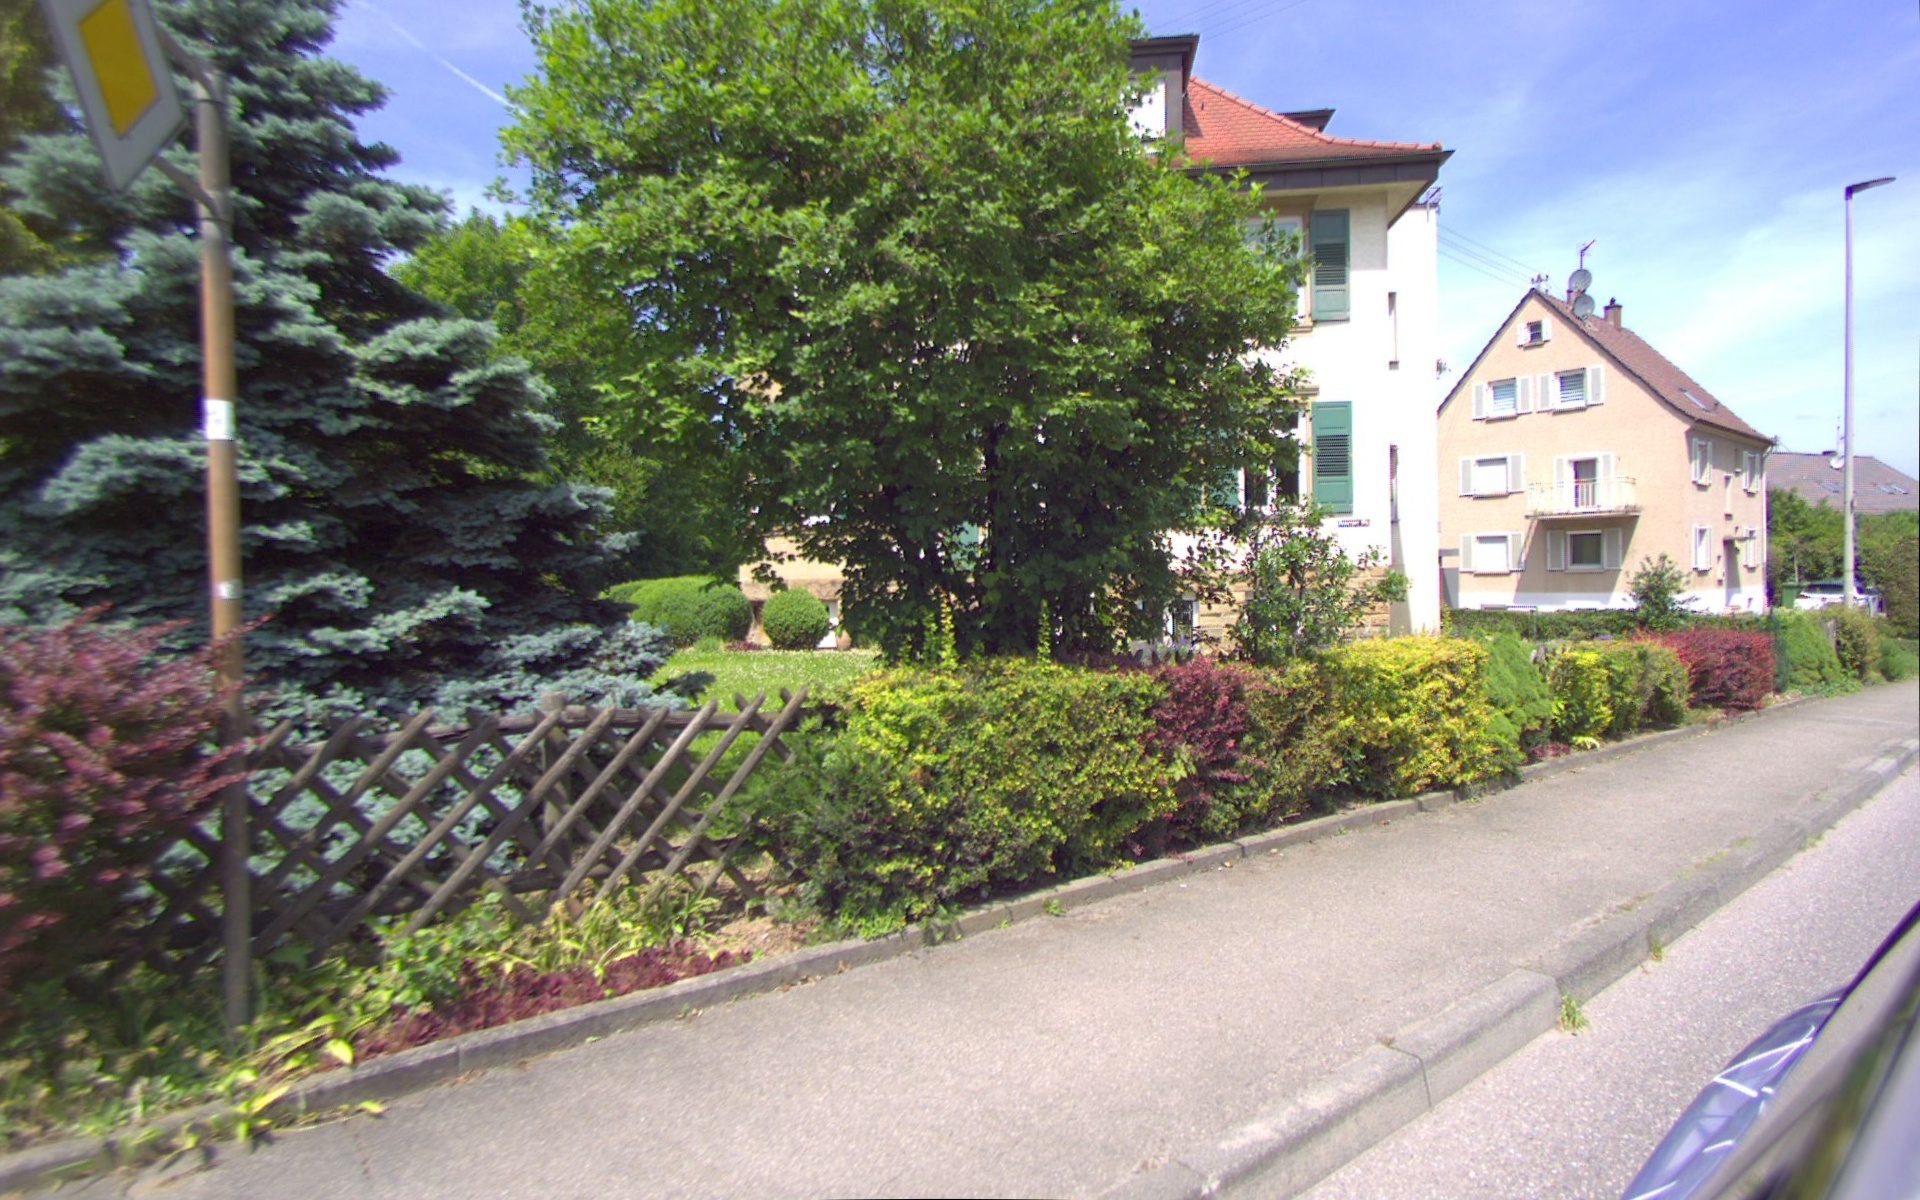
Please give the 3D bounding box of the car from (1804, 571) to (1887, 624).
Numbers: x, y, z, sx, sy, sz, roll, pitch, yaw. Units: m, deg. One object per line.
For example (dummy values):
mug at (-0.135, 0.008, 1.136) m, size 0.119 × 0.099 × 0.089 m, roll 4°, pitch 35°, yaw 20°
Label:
car at (29.042, -0.124, 33.162) m, size 3.499 × 1.500 × 1.608 m, roll -4°, pitch 3°, yaw -41°
